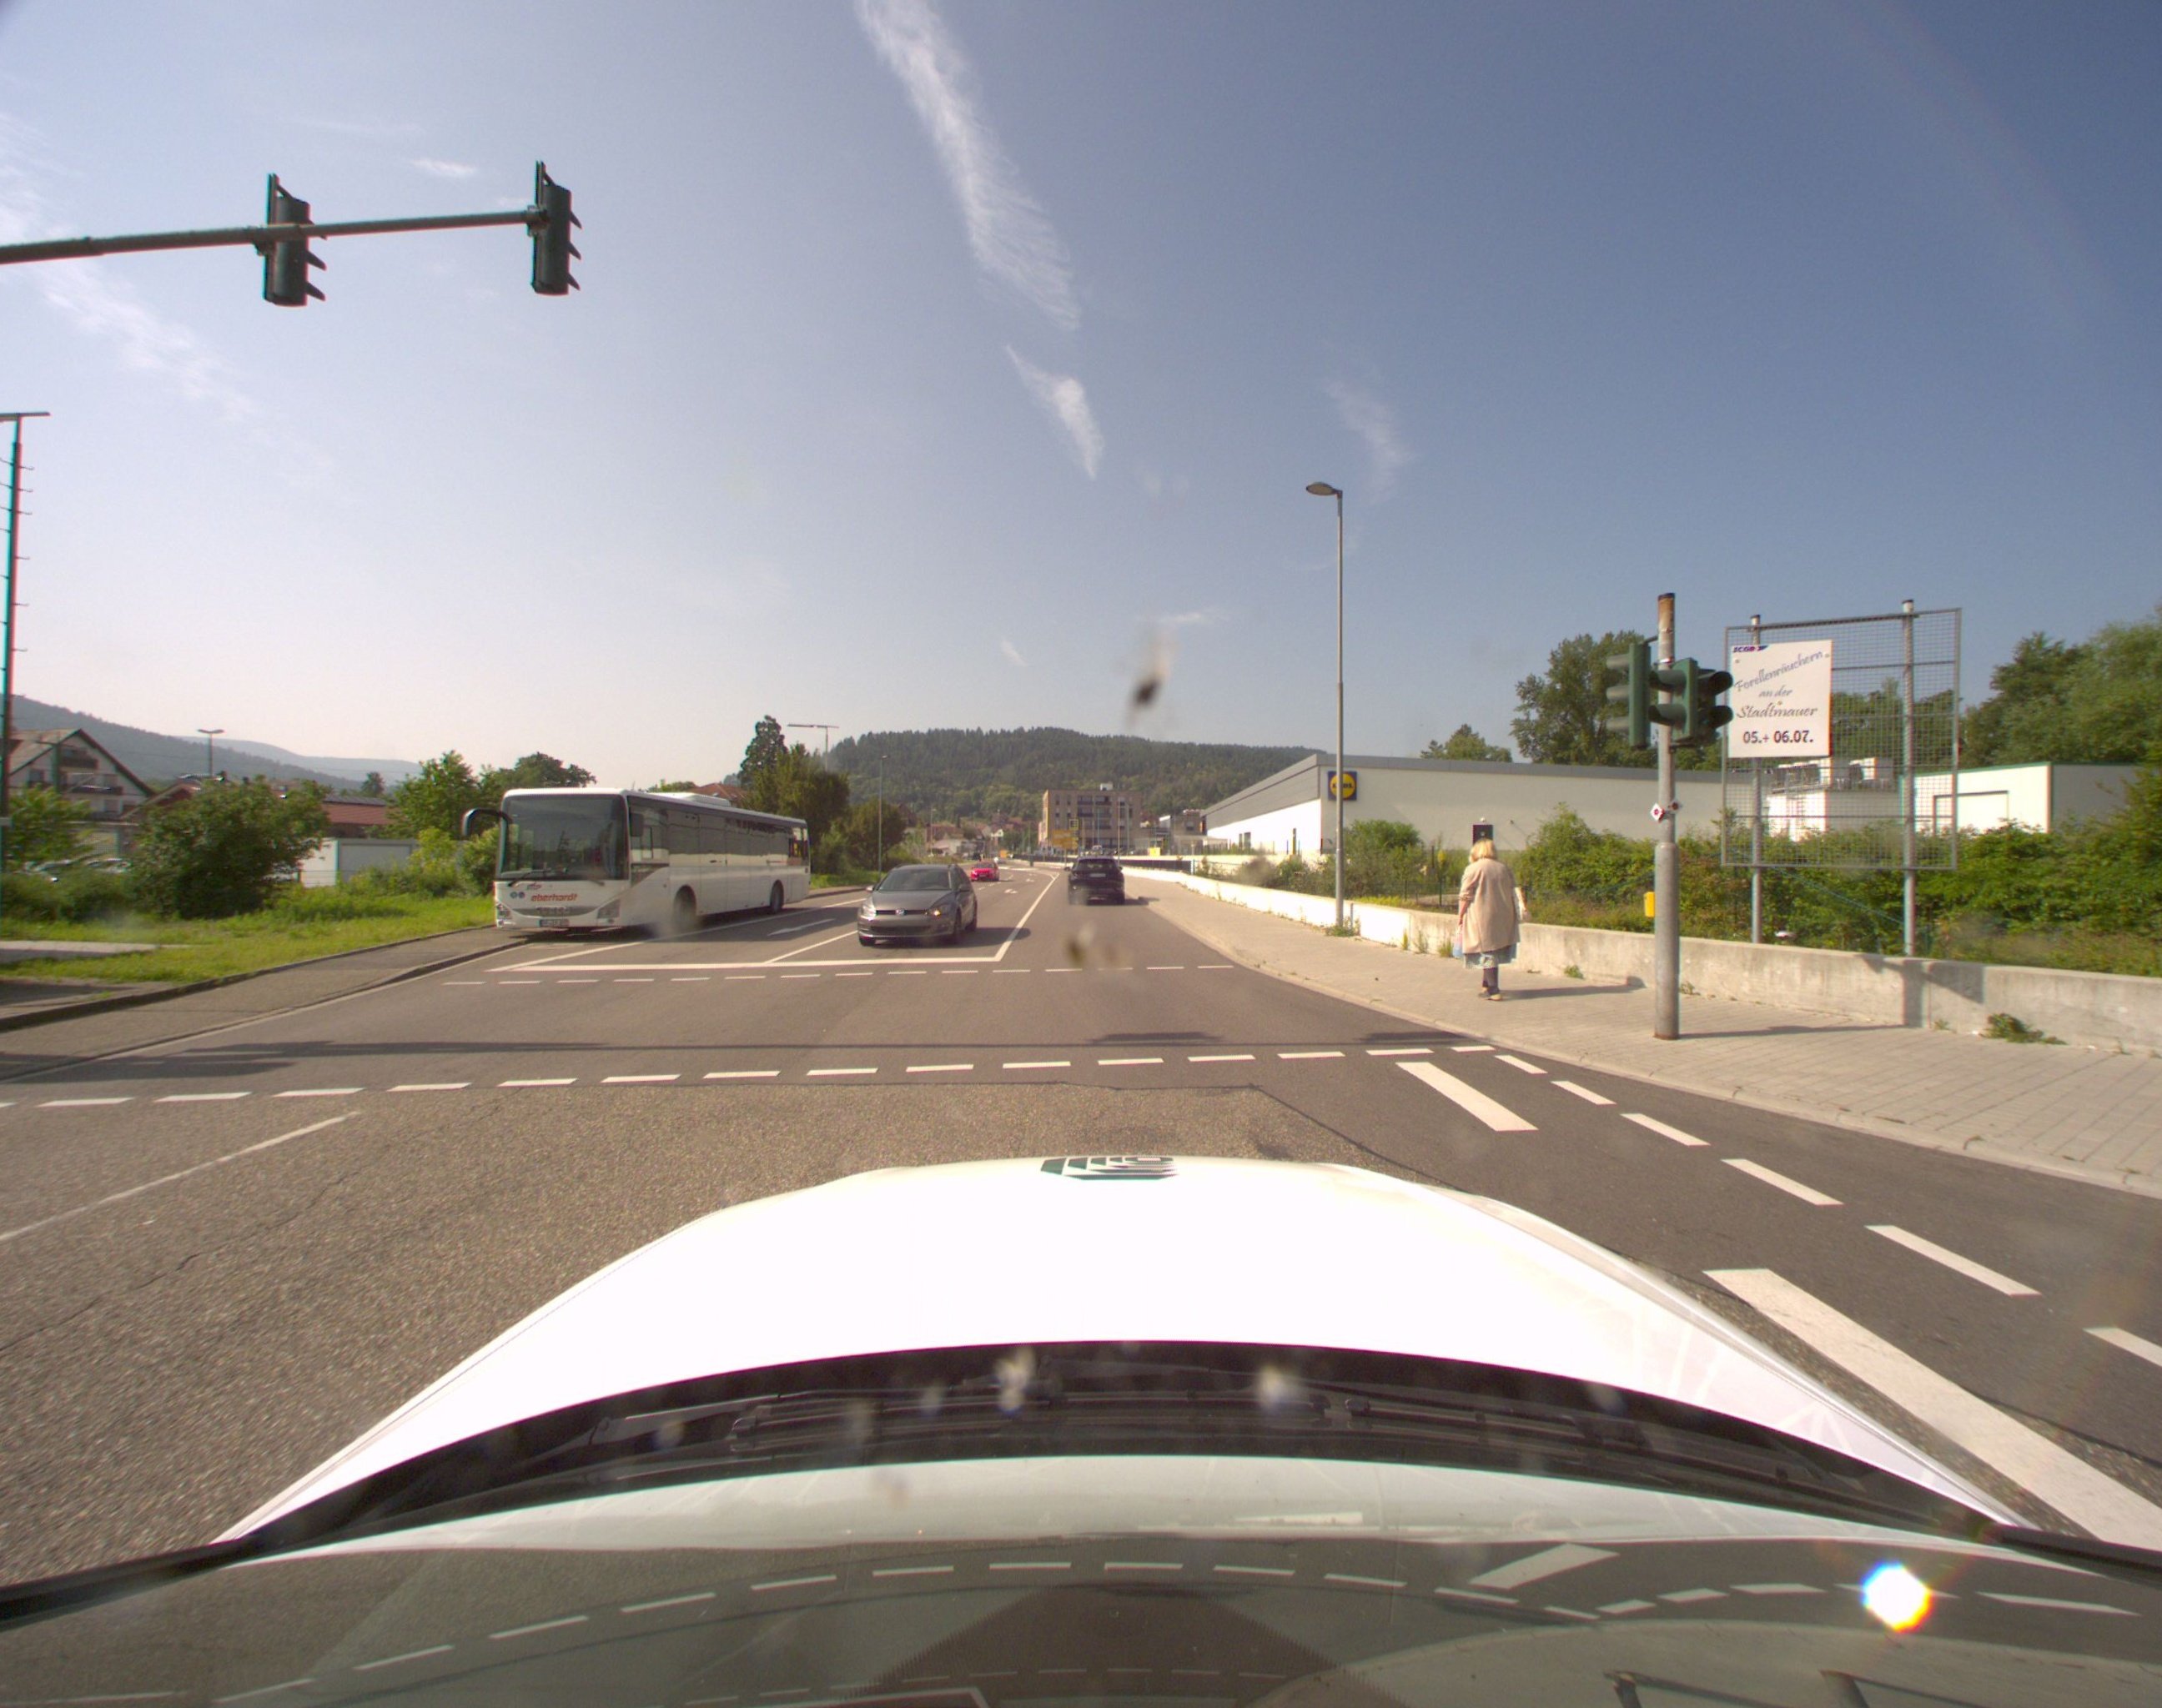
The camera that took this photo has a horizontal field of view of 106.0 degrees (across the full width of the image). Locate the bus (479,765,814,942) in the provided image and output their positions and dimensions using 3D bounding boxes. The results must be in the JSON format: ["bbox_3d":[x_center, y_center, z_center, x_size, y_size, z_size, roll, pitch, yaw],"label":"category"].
[{"bbox_3d":[-10.145,0.042,21.344,2.613,3.310,11.949,-1,-1,-1],"label":"bus"}]

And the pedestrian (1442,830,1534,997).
[{"bbox_3d":[4.229,0.600,8.502,0.705,1.671,0.595,-1,-1,12],"label":"pedestrian"}]

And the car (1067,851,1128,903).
[{"bbox_3d":[0.646,0.769,28.314,1.872,1.684,4.005,-1,-1,4],"label":"car"}]

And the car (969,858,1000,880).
[{"bbox_3d":[-7.017,1.091,59.528,1.832,1.492,4.429,-1,-1,-1],"label":"car"}]

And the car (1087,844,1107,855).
[{"bbox_3d":[3.241,-0.833,165.890,3.972,2.136,2.001,-1,-1,2],"label":"car"}]

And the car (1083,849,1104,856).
[{"bbox_3d":[2.239,-0.235,150.107,3.567,1.199,1.703,0,0,-19],"label":"car"}]

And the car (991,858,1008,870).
[{"bbox_3d":[-13.669,1.697,136.696,2.000,2.014,3.973,0,-1,-20],"label":"car"}]

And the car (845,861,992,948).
[{"bbox_3d":[-2.996,0.873,15.902,1.764,1.473,4.223,-1,-1,4],"label":"car"}]

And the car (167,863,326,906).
[{"bbox_3d":[-25.798,0.902,25.346,1.304,1.238,3.476,-1,-1,1],"label":"car"}]

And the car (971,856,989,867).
[{"bbox_3d":[-18.497,1.384,149.039,1.981,2.014,4.012,-1,-1,11],"label":"car"}]
